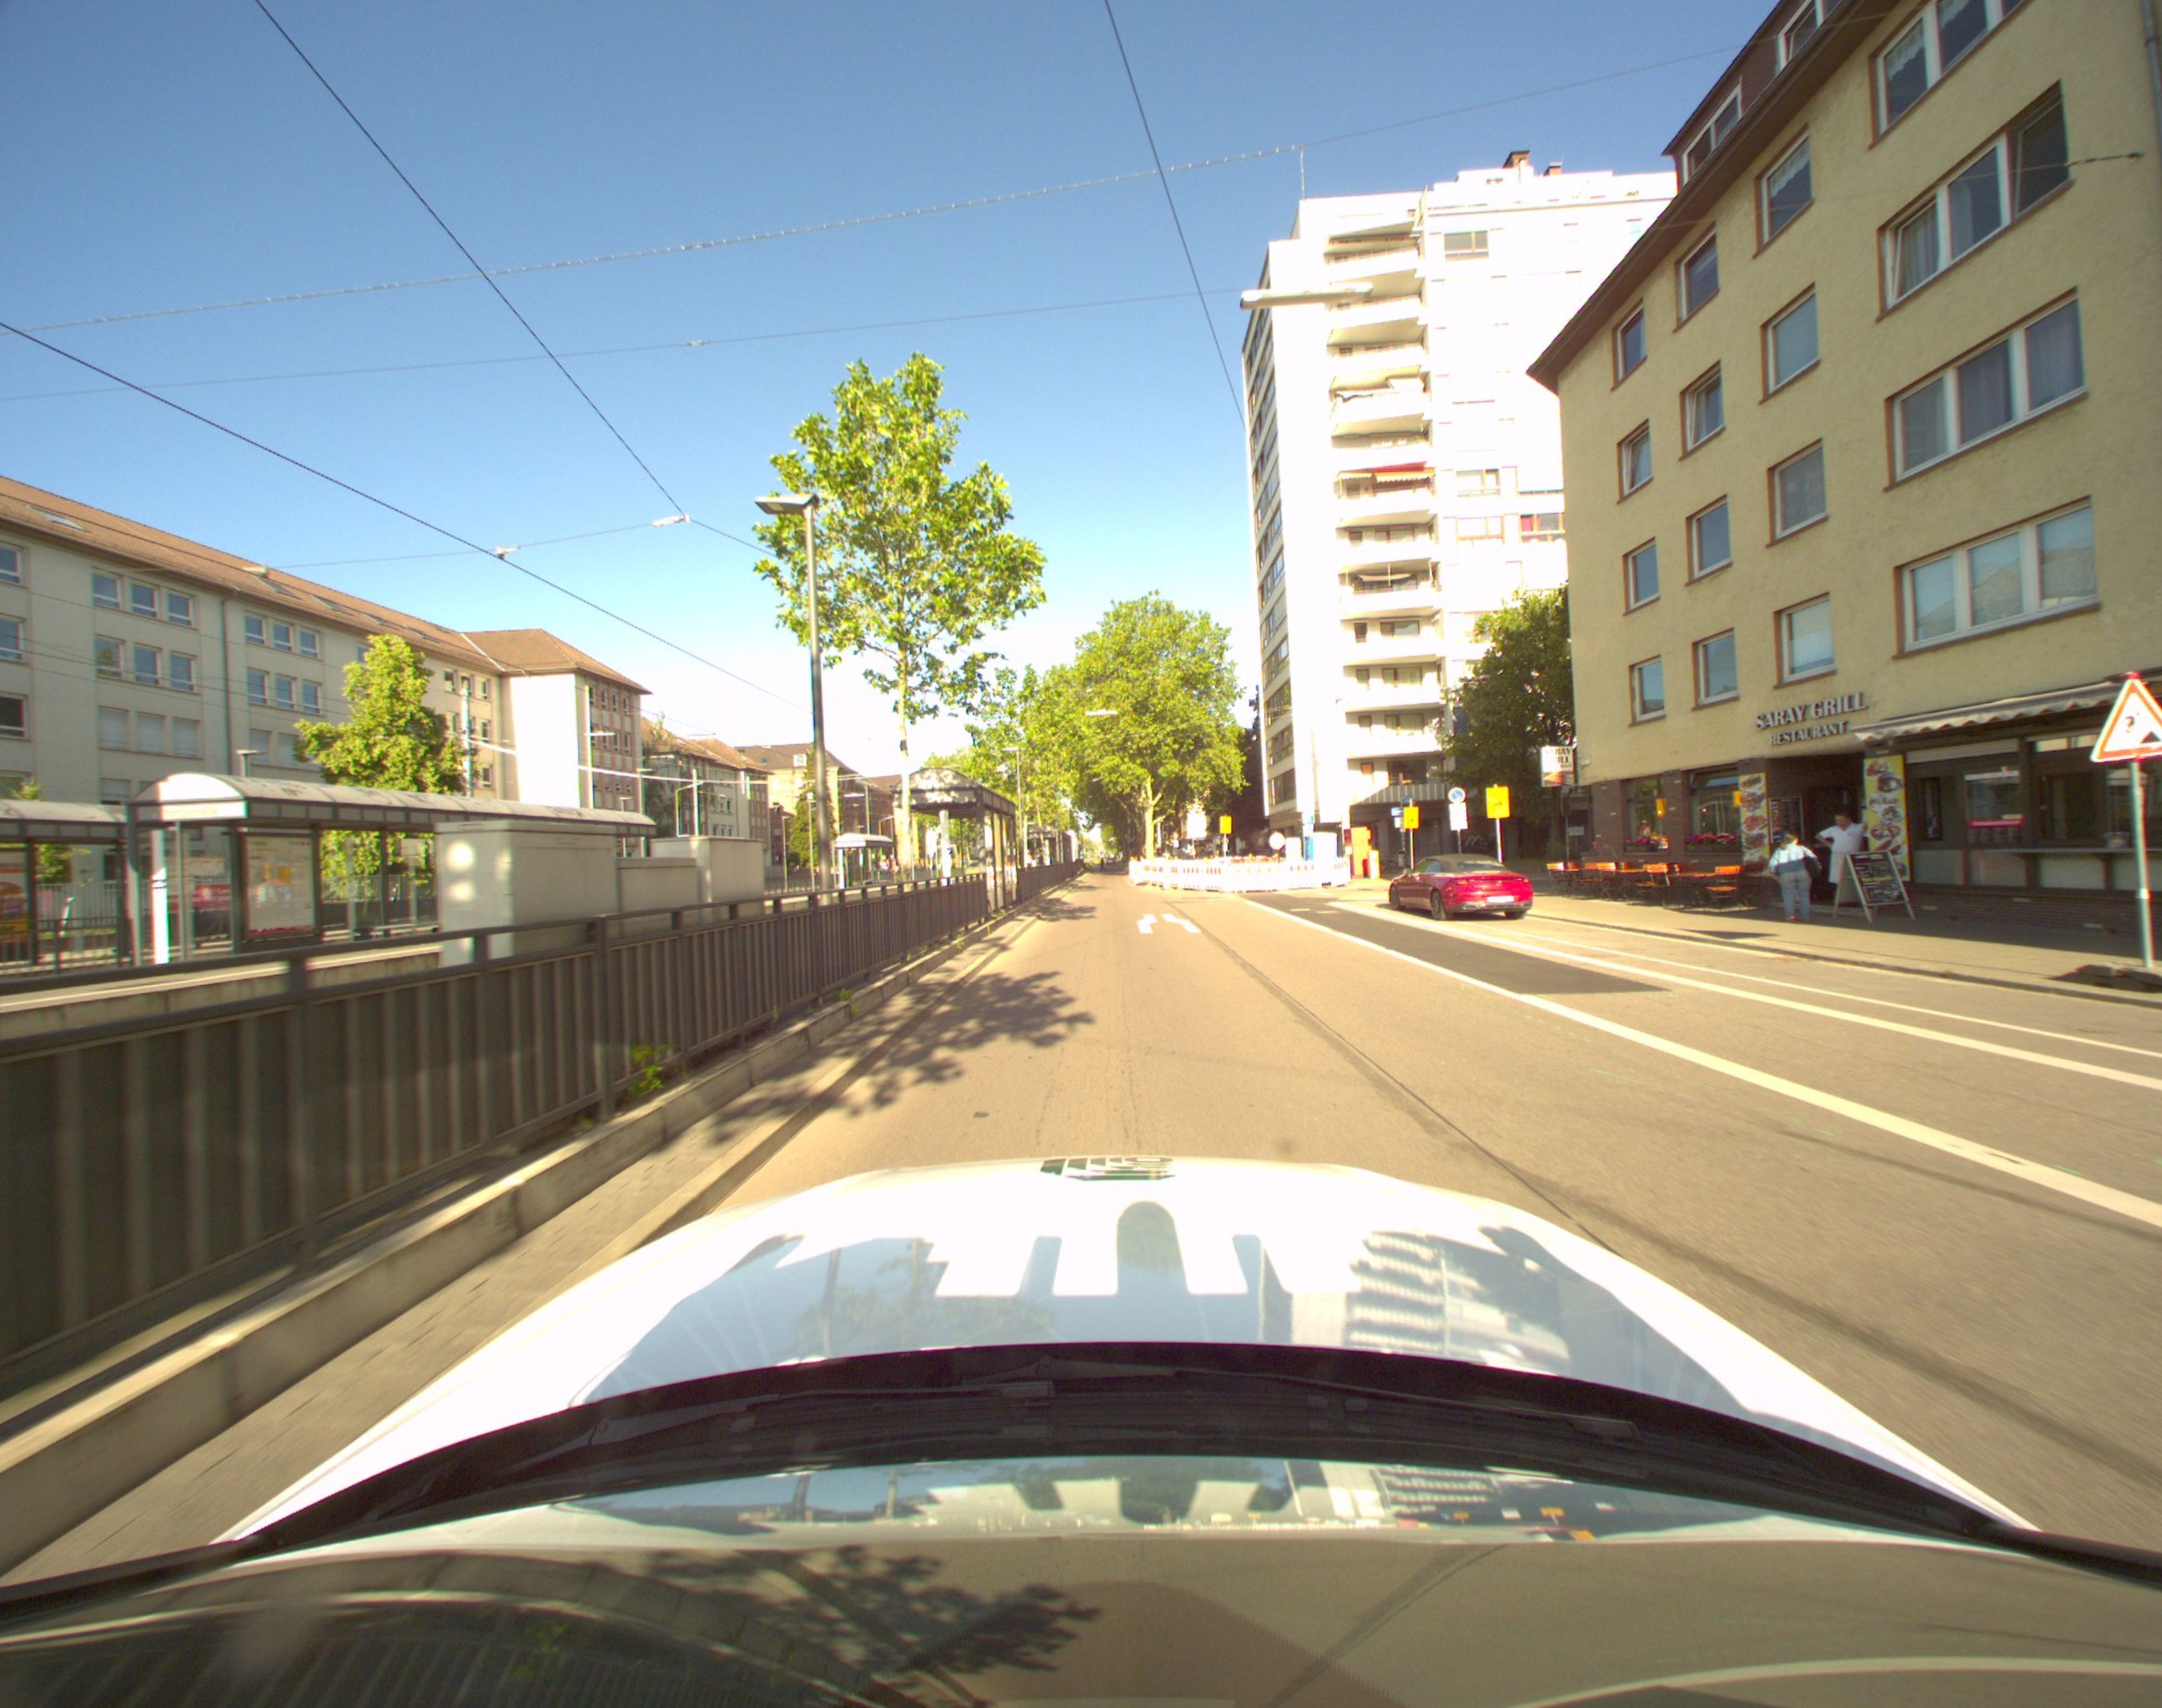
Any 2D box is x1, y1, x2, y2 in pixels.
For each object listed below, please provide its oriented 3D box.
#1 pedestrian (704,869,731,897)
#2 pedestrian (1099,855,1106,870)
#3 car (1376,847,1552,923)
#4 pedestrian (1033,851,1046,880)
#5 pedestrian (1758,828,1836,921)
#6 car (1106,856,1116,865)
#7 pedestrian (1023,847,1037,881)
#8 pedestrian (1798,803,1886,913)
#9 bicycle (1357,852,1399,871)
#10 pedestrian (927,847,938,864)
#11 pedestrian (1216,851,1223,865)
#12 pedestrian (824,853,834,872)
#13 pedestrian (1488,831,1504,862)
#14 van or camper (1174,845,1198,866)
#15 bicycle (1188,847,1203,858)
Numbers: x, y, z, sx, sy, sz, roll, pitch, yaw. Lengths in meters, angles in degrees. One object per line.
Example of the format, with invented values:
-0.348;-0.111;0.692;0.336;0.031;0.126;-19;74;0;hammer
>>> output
-18.834;1.515;42.193;0.971;1.376;0.879;-2;0;1;pedestrian
2.357;0.987;91.450;0.709;1.680;0.772;-2;0;0;pedestrian
8.663;0.633;19.023;1.864;1.443;5.163;-2;0;3;car
-2.548;0.699;49.908;0.679;1.784;0.755;-2;0;3;pedestrian
12.067;0.332;13.744;0.668;1.506;0.652;-2;-1;2;pedestrian
6.141;1.362;167.507;2.014;1.662;4.001;-2;0;2;car
-3.059;0.604;48.594;0.665;2.013;0.717;-2;0;3;pedestrian
13.430;0.066;14.386;0.733;1.854;0.892;-5;1;-31;pedestrian
15.827;0.379;43.372;2.011;0.943;1.023;-2;0;21;bicycle
-15.449;0.155;84.683;0.949;1.736;0.731;-3;0;4;pedestrian
16.951;0.502;99.691;0.729;1.616;1.036;-3;0;2;pedestrian
-25.252;0.827;81.641;0.690;1.837;0.573;-3;0;1;pedestrian
25.070;-0.436;49.222;0.652;1.854;0.679;0;-1;4;pedestrian
12.581;0.173;97.700;2.282;2.286;5.825;-2;0;2;van or camper
13.199;-0.175;93.909;1.600;1.263;0.962;-3;-1;-3;bicycle
